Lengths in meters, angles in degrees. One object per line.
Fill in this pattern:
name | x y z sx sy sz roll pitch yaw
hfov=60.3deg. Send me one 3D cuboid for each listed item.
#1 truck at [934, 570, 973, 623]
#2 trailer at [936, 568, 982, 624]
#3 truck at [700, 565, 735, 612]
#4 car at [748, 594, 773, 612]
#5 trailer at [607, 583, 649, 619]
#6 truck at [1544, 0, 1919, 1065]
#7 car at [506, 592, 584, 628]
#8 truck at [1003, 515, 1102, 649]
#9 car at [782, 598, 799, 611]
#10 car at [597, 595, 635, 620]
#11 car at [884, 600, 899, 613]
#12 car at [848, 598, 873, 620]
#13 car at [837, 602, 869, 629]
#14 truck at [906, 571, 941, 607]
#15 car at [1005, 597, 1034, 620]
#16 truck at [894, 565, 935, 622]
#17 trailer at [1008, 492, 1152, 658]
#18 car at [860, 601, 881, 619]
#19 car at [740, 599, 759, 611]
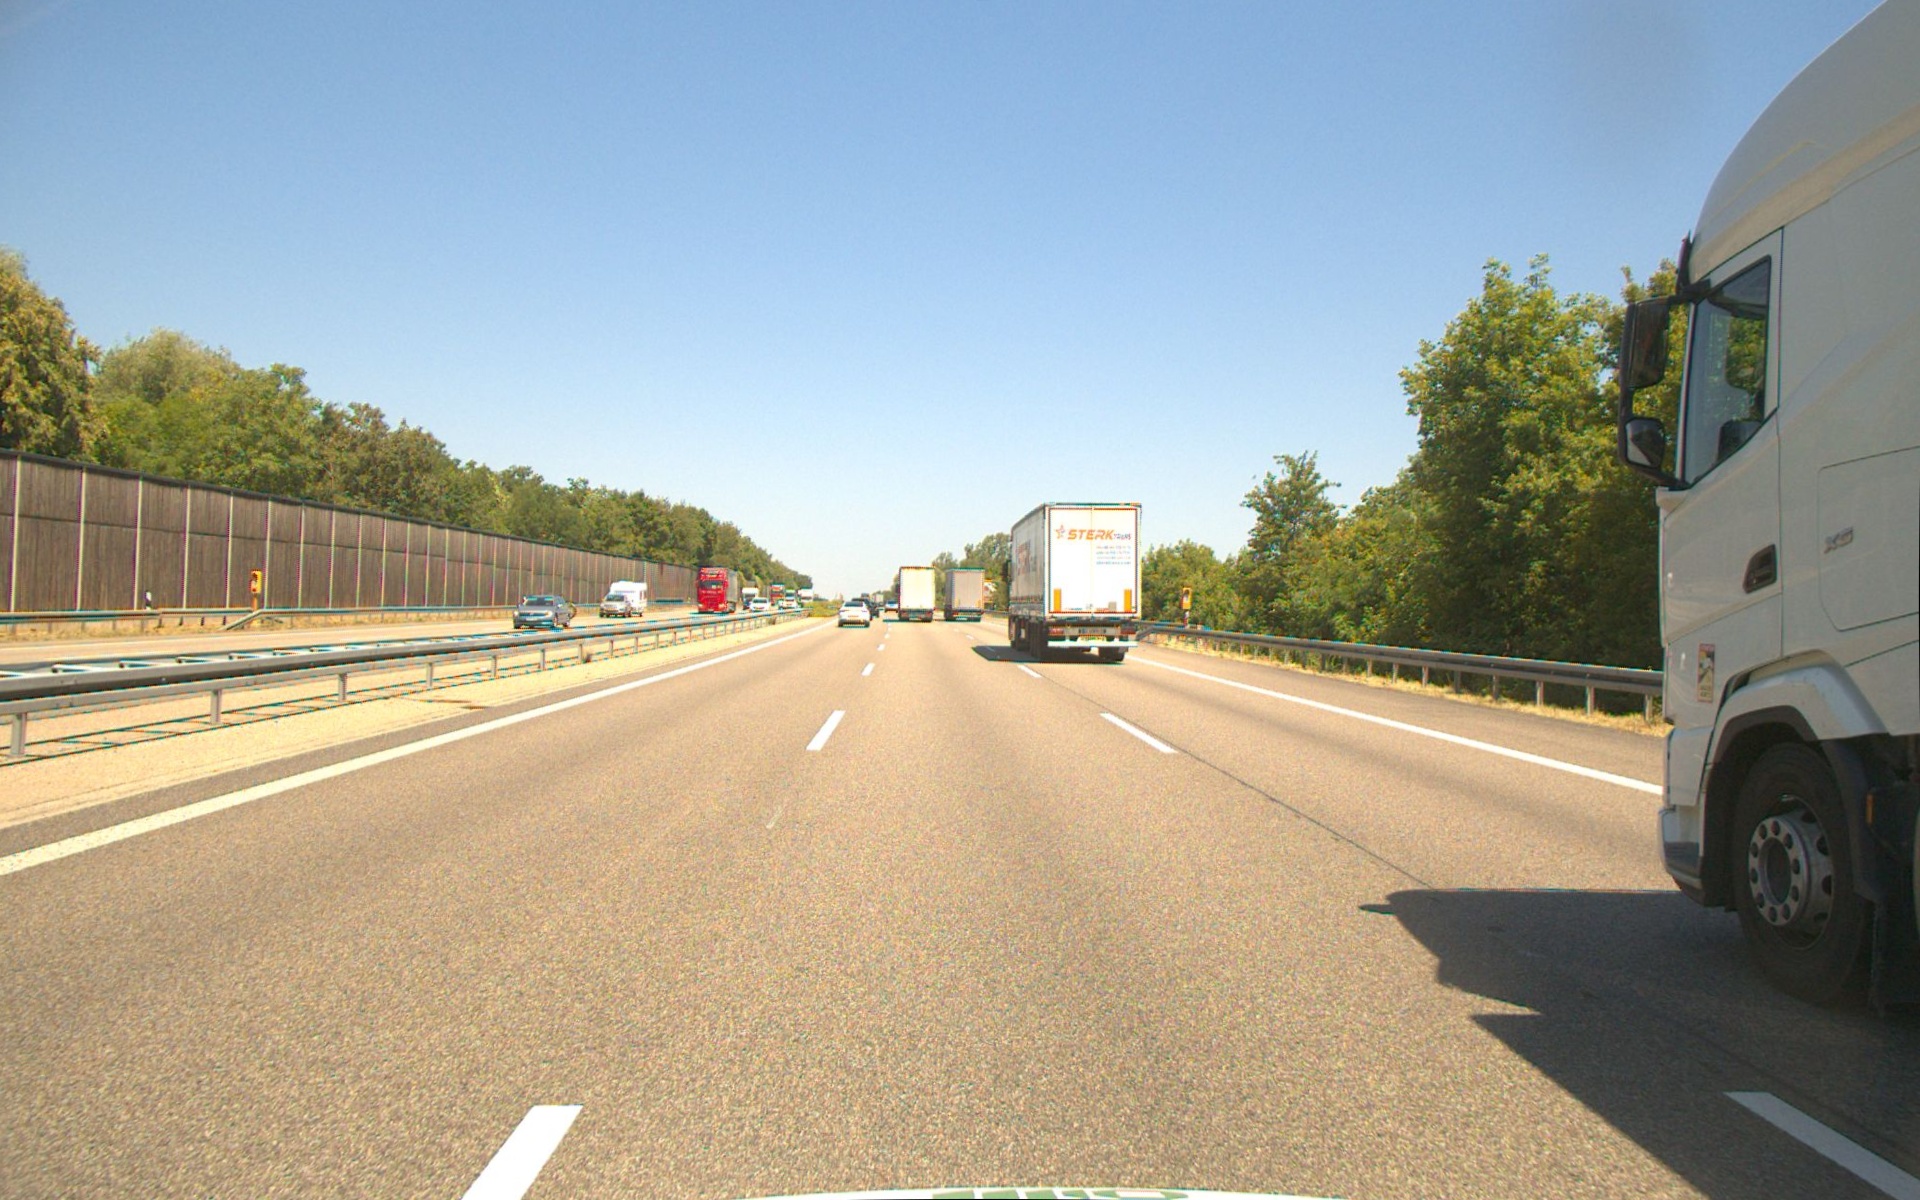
truck | -0.586 -0.299 141.420 2.638 4.289 7.830 2 0 -5
trailer | -0.154 -0.314 135.947 2.650 4.289 13.199 2 0 -4
truck | -22.181 -1.044 151.685 2.310 4.147 7.150 1 0 -2
car | -17.737 0.245 147.480 1.861 1.547 4.417 1 0 -2
trailer | -24.337 0.073 121.555 2.088 2.520 6.265 1 0 -3
truck | 4.608 -0.549 5.644 2.899 4.178 6.205 1 0 -1
car | -18.514 0.425 74.067 2.081 1.549 5.981 1 0 -1
truck | 3.022 -0.557 55.807 2.653 4.160 6.961 1 0 -2
car | -20.956 0.525 204.463 1.768 1.571 4.244 1 0 -1
car | -24.076 0.507 115.953 1.861 1.741 4.903 1 0 -3
car | -8.734 0.789 210.752 1.819 1.645 3.996 1 0 -4
car | -7.699 0.681 128.165 1.818 1.645 3.997 1 0 -3
car | -6.199 0.893 96.327 1.818 1.512 3.997 1 0 -3
truck | -4.816 -1.420 215.218 3.310 4.378 11.434 4 0 -6
car | 4.329 0.640 121.105 1.818 1.645 3.998 1 0 -2
truck | -3.617 -0.447 127.904 2.653 4.157 13.464 2 0 -3
trailer | 3.254 -0.604 49.036 2.653 4.160 14.144 1 0 -2
car | -8.245 0.895 152.163 1.819 1.645 3.997 1 0 -4
car | -25.453 0.589 199.766 1.881 1.399 4.579 1 0 -3
